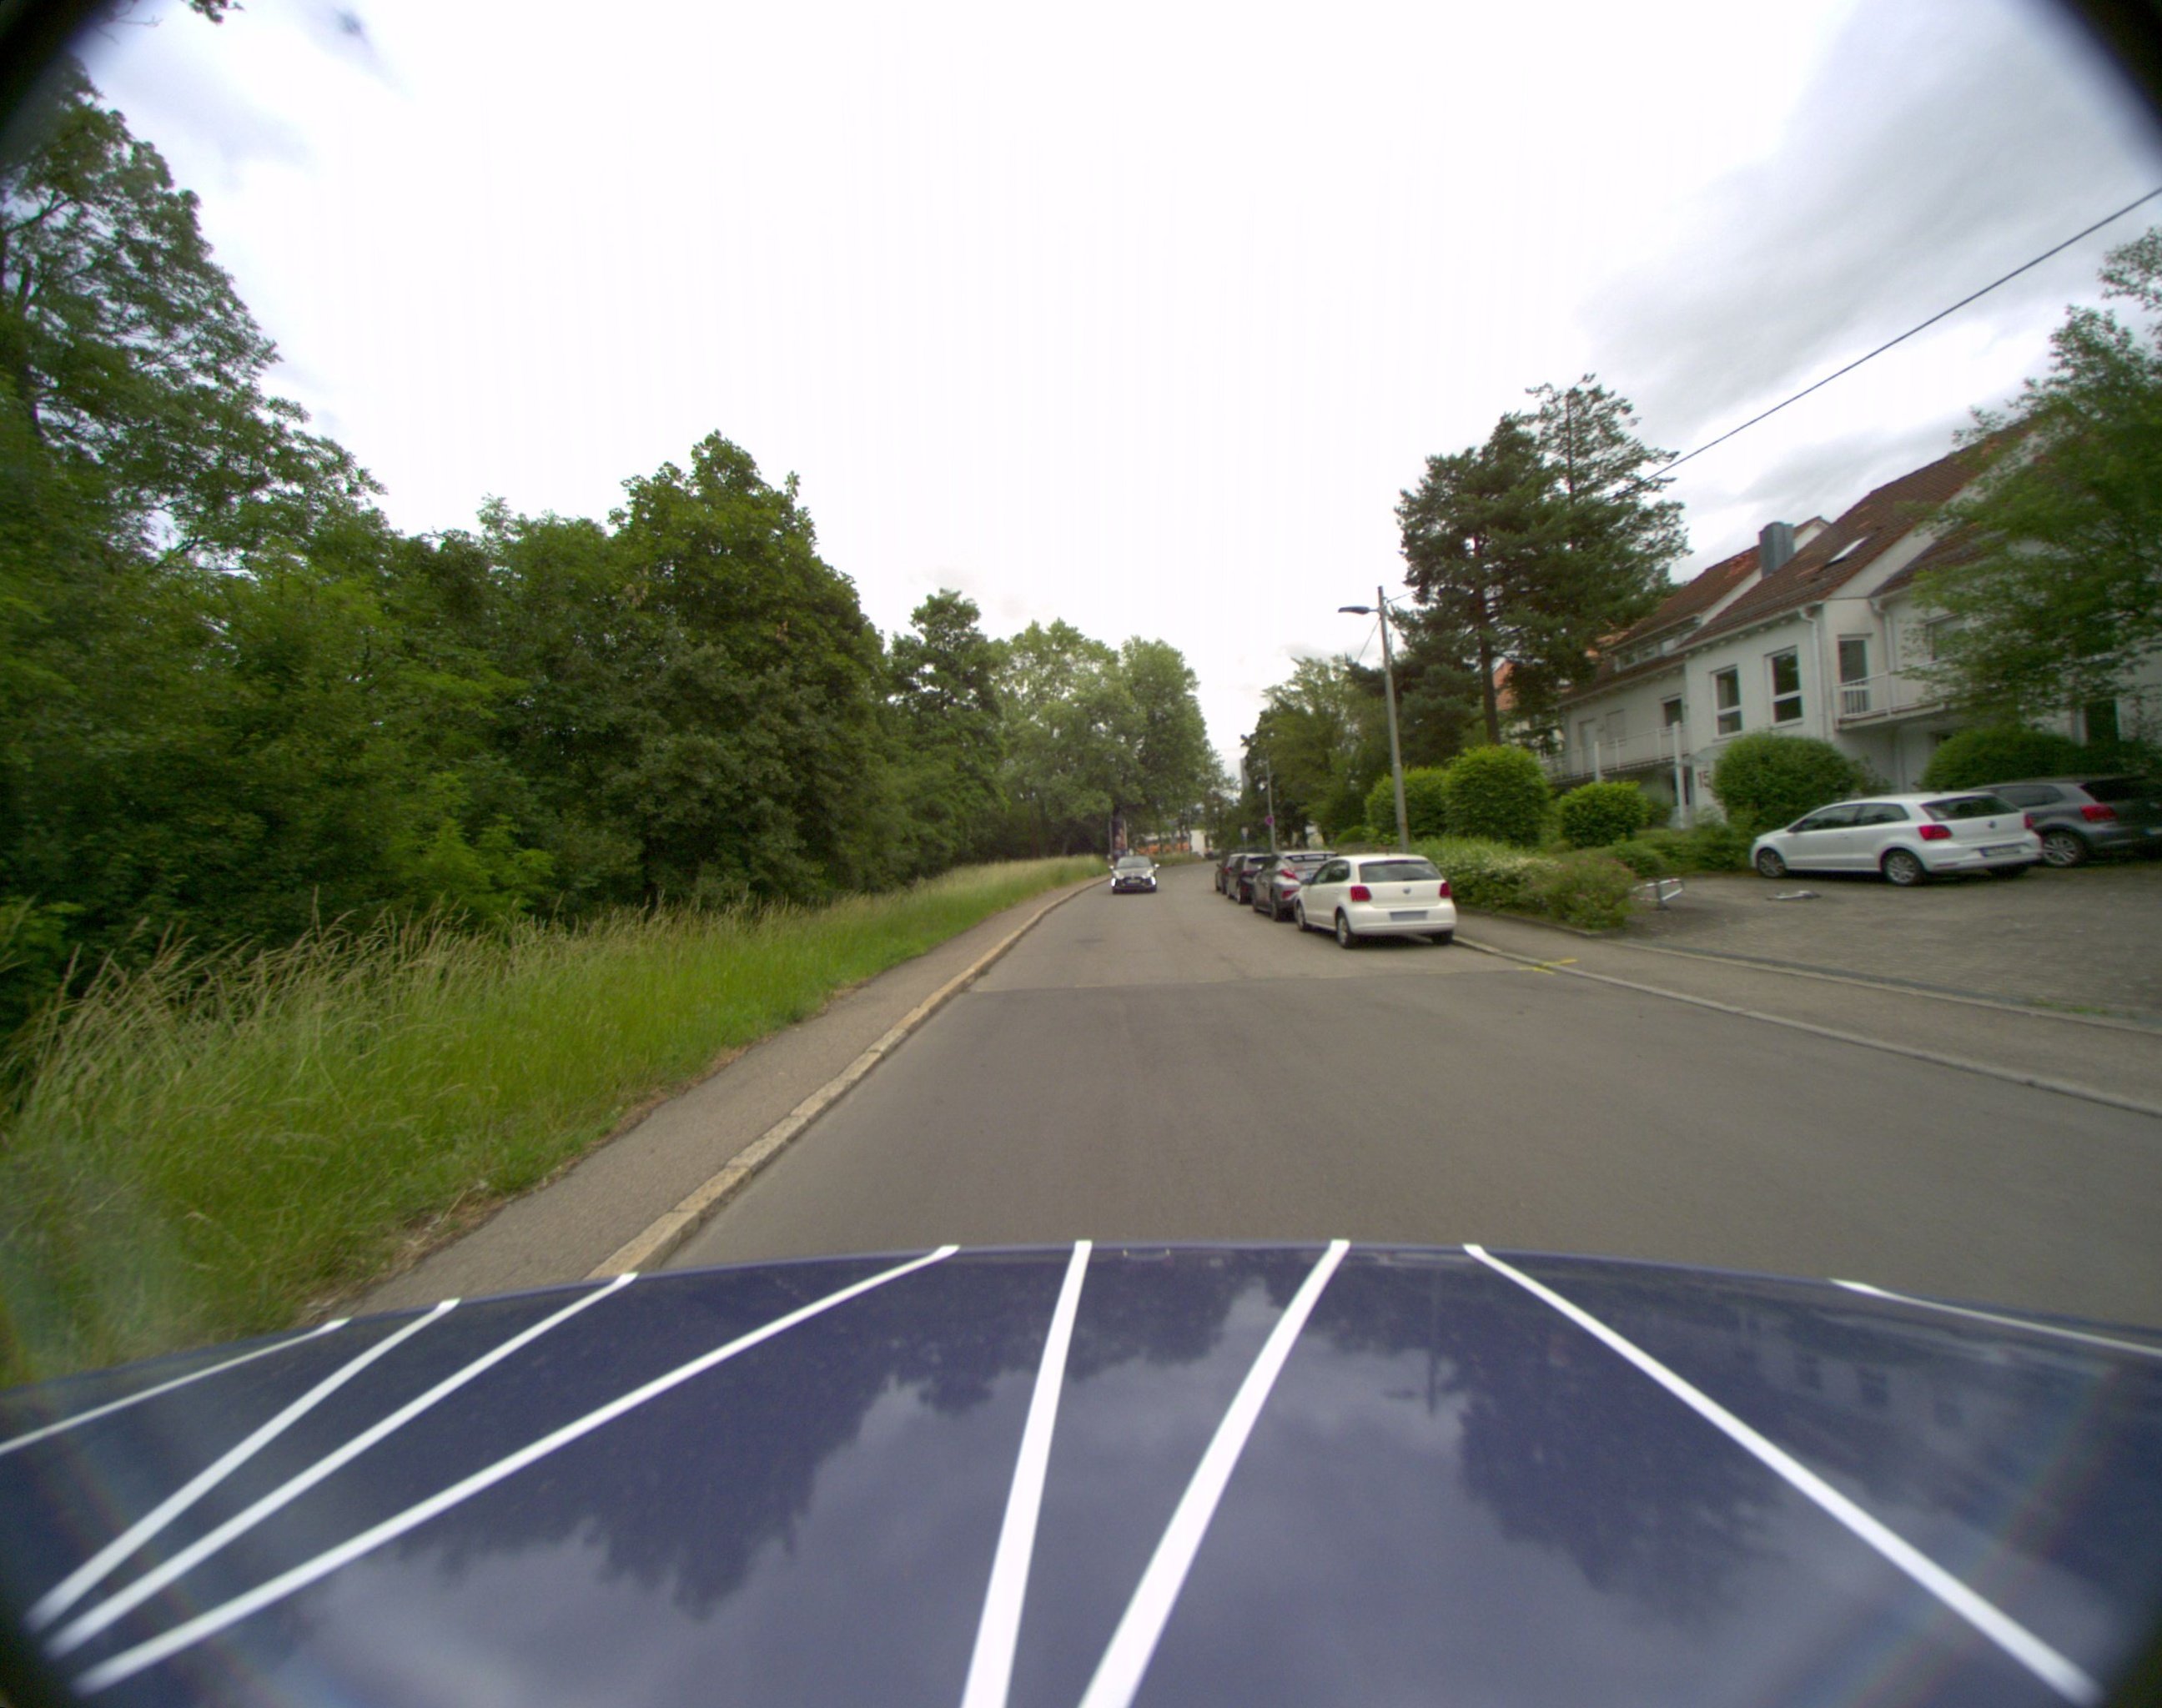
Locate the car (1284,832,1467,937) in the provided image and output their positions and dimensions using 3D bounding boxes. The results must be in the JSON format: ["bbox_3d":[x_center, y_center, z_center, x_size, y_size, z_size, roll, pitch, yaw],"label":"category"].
[{"bbox_3d":[4.806,0.448,13.007,1.627,1.471,3.928,-2,0,1],"label":"car"}]

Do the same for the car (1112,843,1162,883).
[{"bbox_3d":[2.284,0.328,30.295,1.645,1.390,3.783,-3,0,8],"label":"car"}]

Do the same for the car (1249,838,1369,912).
[{"bbox_3d":[5.043,0.382,17.354,1.765,1.472,4.128,1,1,4],"label":"car"}]

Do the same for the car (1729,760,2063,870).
[{"bbox_3d":[13.912,-0.656,13.381,1.707,1.450,3.932,-7,2,4],"label":"car"}]

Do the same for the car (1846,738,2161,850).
[{"bbox_3d":[16.452,-0.950,13.407,1.826,1.564,4.001,-5,-1,2],"label":"car"}]

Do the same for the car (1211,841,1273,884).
[{"bbox_3d":[5.808,0.284,27.929,1.738,1.410,4.506,-1,0,6],"label":"car"}]

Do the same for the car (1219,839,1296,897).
[{"bbox_3d":[5.229,0.346,23.007,1.653,1.434,4.332,-1,3,5],"label":"car"}]
